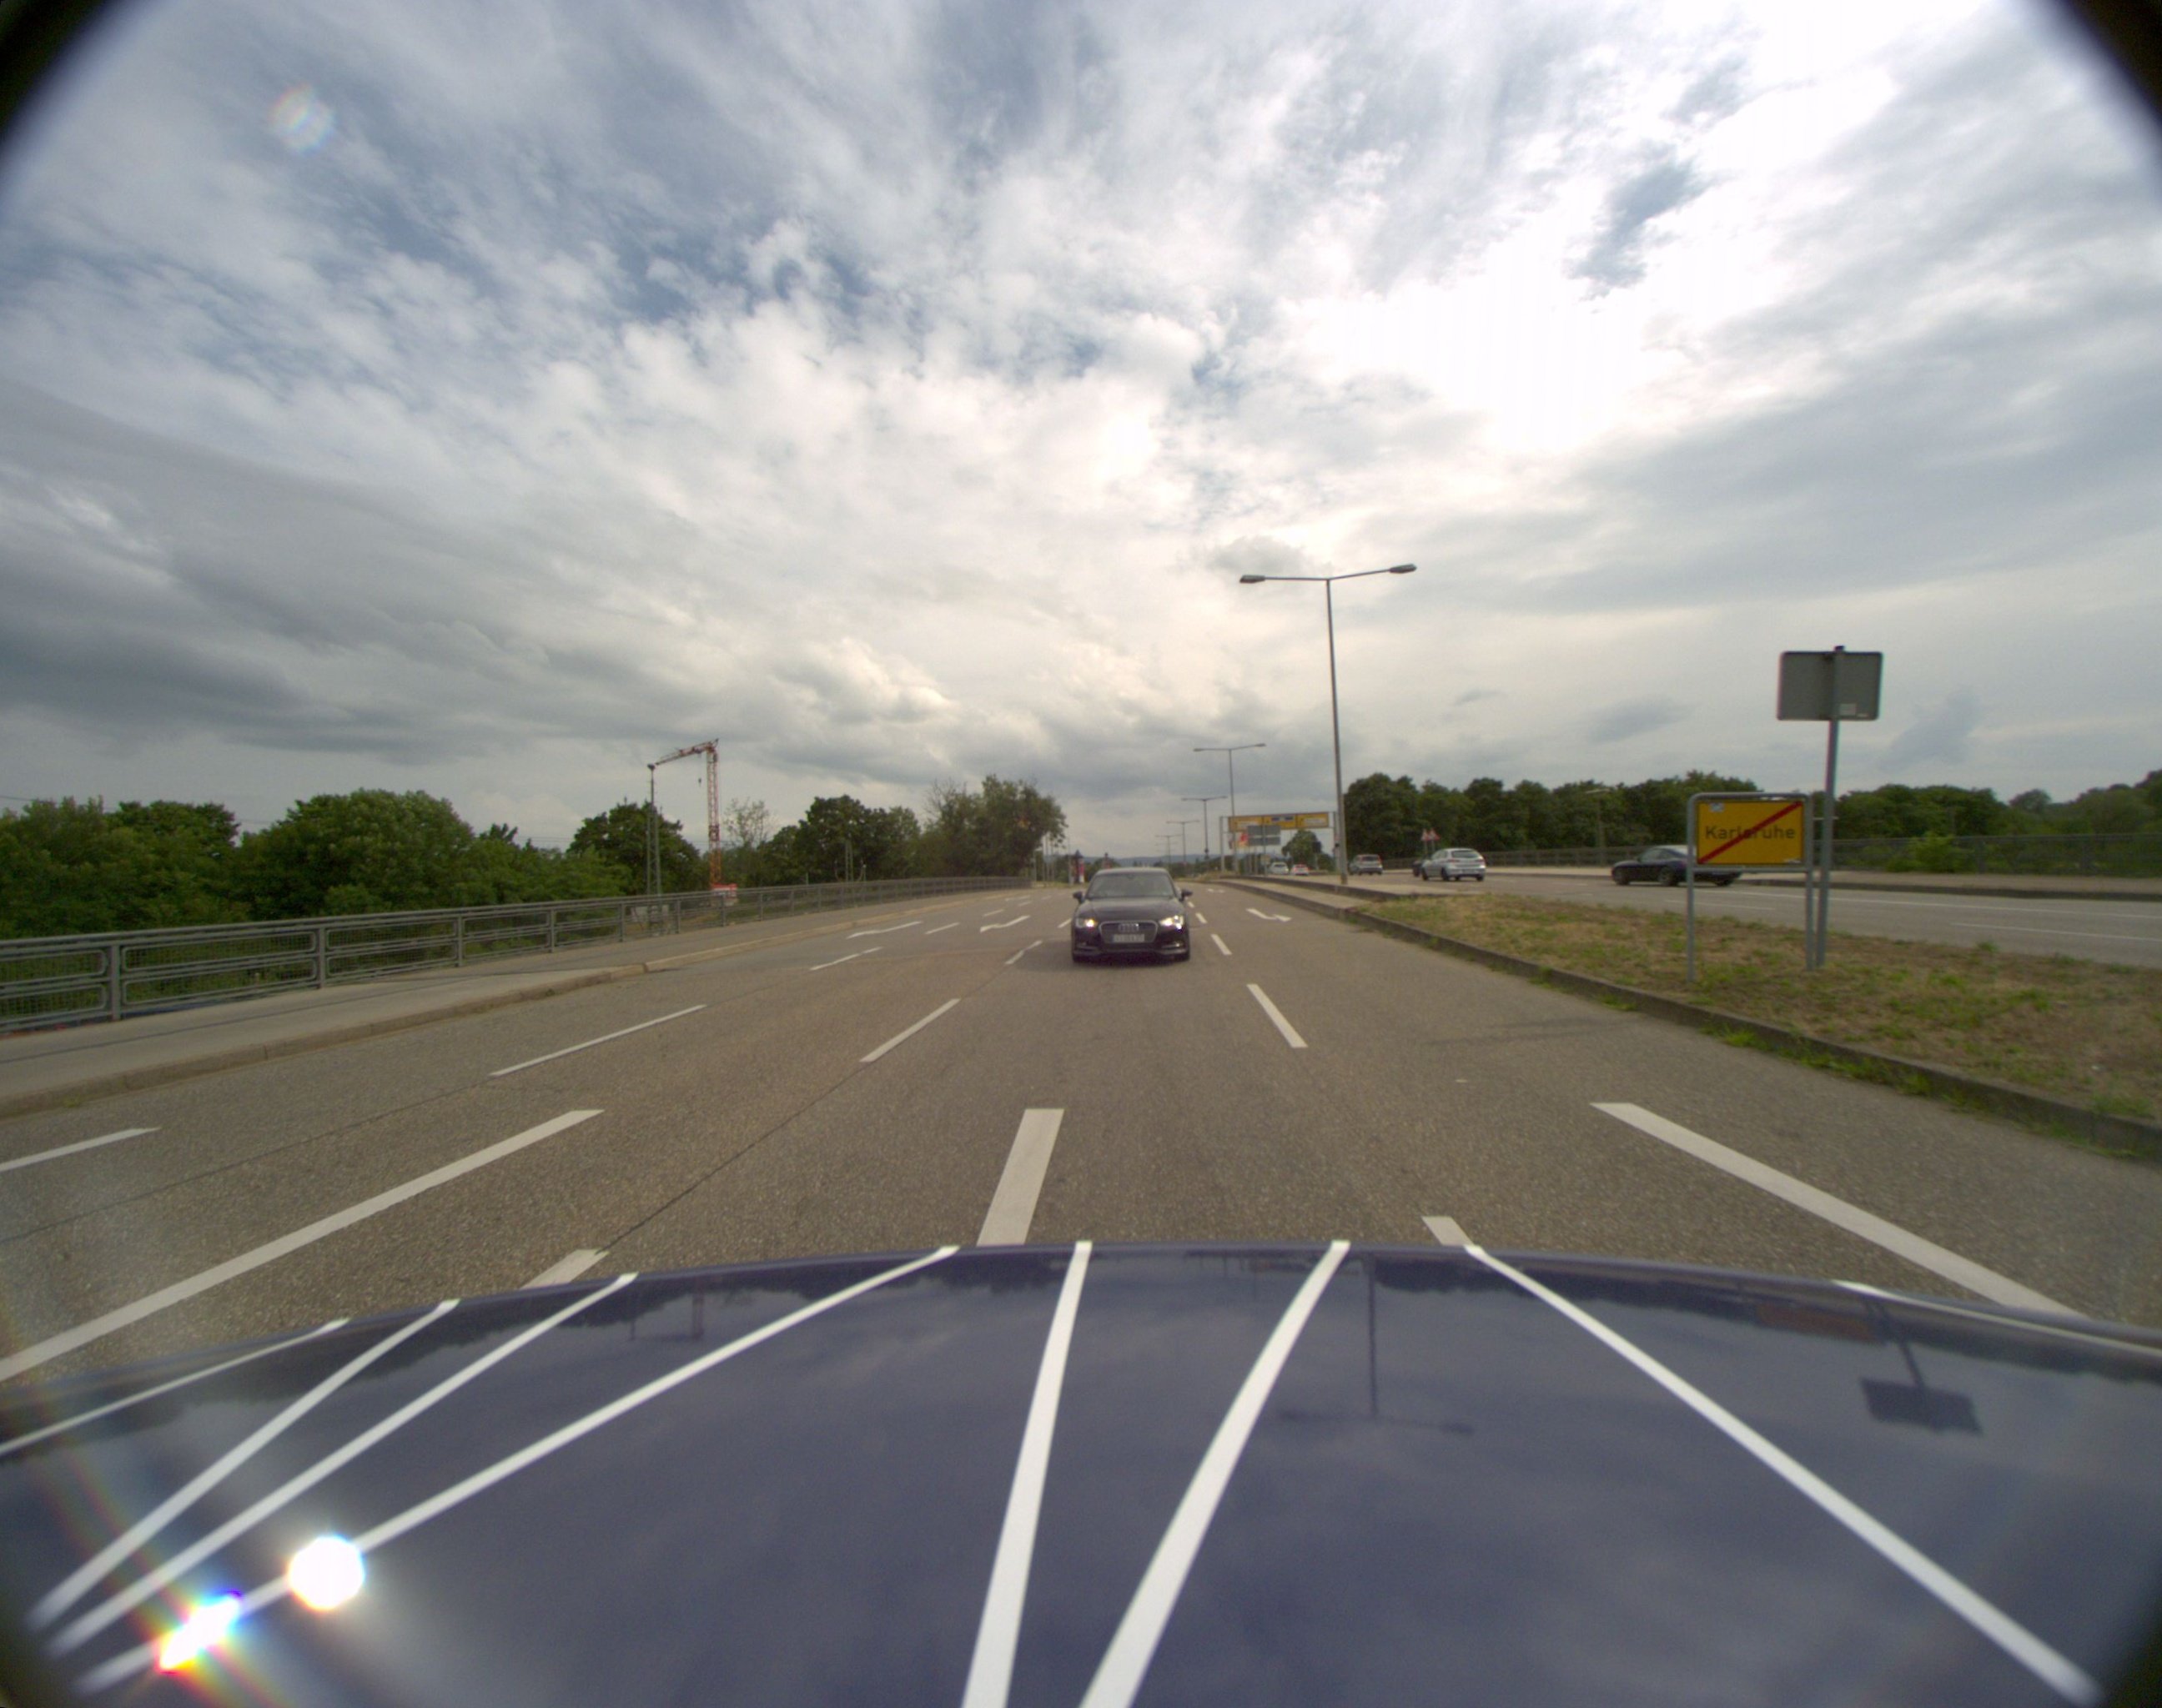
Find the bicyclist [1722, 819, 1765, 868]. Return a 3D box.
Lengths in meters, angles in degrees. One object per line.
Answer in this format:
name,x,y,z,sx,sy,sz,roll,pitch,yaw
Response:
bicyclist,23.411,-0.351,26.864,0.686,1.662,0.847,-3,0,1

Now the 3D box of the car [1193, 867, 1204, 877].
car,21.726,3.340,140.471,1.891,1.630,4.588,-2,-1,6

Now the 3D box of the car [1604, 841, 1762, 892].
car,19.089,0.368,24.379,1.825,1.438,4.354,-2,0,5

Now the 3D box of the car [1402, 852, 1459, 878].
car,20.084,0.598,43.854,1.746,1.402,3.877,-1,0,4

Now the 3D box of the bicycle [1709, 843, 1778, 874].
bicycle,23.426,0.162,26.913,0.686,1.047,1.995,-3,-1,1

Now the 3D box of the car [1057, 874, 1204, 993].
car,0.846,1.095,12.173,1.852,1.355,4.731,-2,0,5

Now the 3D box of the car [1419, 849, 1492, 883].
car,16.487,0.502,33.644,1.619,1.402,3.862,-1,0,5

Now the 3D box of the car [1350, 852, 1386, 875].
car,21.456,0.657,56.902,1.745,1.649,4.082,-1,0,9

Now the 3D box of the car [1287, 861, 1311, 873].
car,25.691,1.560,89.754,1.923,1.407,4.884,-1,-1,6

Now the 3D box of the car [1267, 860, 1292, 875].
car,21.101,1.419,80.793,1.813,1.407,4.030,-2,0,3
